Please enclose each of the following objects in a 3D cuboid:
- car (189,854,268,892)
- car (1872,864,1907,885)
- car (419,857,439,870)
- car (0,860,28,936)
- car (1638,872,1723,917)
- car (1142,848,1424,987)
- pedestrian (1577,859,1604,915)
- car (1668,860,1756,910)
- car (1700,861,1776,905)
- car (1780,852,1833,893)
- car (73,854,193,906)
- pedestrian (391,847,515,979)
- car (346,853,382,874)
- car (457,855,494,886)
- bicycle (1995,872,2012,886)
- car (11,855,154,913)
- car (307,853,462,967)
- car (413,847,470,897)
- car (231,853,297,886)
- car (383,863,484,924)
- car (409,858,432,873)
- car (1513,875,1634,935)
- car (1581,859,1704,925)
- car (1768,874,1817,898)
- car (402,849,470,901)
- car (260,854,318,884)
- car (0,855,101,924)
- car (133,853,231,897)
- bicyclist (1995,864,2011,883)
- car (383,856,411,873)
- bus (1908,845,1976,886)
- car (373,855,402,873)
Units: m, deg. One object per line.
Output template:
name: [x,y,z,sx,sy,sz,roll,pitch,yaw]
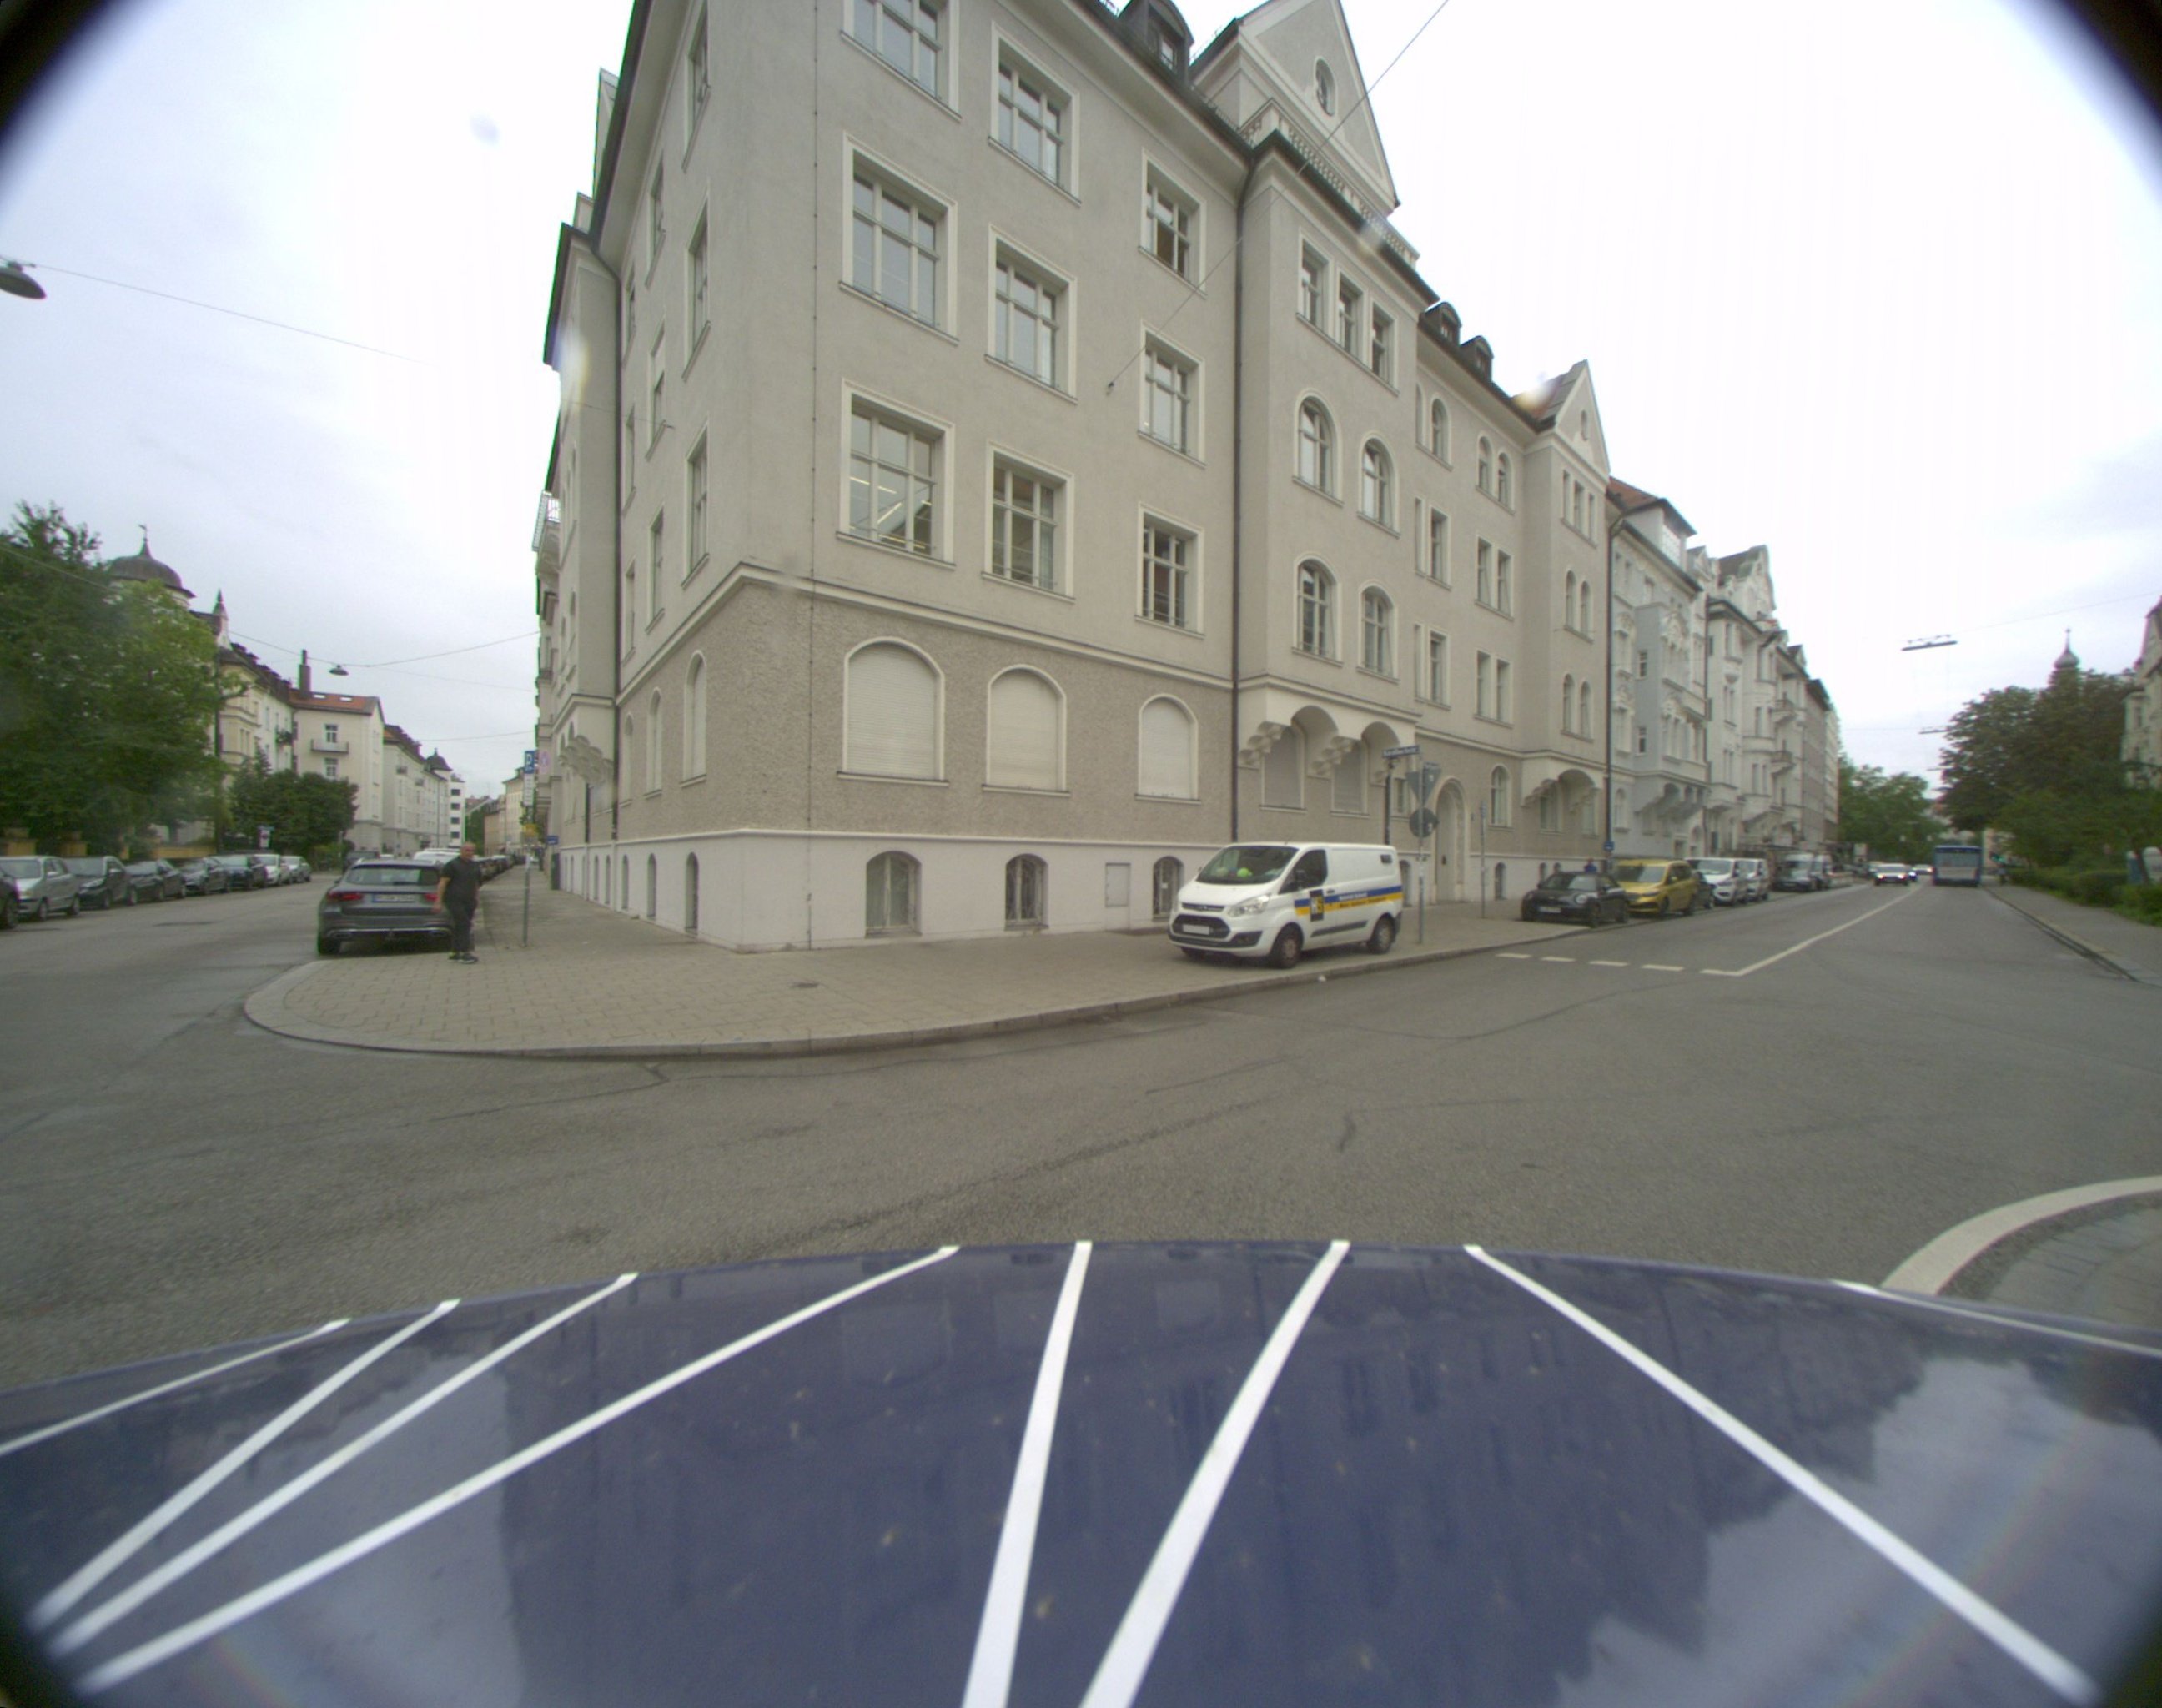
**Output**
car: [-36.954,0.786,33.007,1.800,1.538,3.295,1,0,-40]
car: [65.963,1.638,62.029,4.611,1.648,1.915,1,0,-44]
car: [-76.975,1.085,89.729,1.800,1.538,3.600,1,0,-40]
car: [-22.188,0.896,14.323,1.800,1.538,3.946,1,0,-40]
car: [22.014,1.439,27.854,3.893,1.505,1.634,1,0,-39]
car: [3.650,0.911,13.042,5.386,1.911,1.939,1,1,-41]
pedestrian: [18.459,1.180,27.511,0.729,2.002,0.583,1,0,-38]
car: [26.321,1.212,31.642,4.896,1.907,1.994,1,0,-41]
car: [31.082,1.300,35.876,4.888,1.907,1.994,1,0,-41]
car: [50.499,1.223,52.847,5.456,2.673,2.077,1,2,-41]
car: [-30.687,0.788,24.713,1.800,1.538,3.295,1,0,-40]
pedestrian: [-8.938,0.798,10.858,0.928,1.790,1.001,1,0,10]
car: [-56.184,0.740,59.567,1.800,1.538,3.600,1,0,-40]
car: [-41.292,1.080,51.764,1.822,2.023,4.023,0,0,-41]
bicycle: [75.009,2.033,61.791,2.054,1.075,0.768,1,-2,-42]
car: [-28.741,0.802,22.003,1.800,1.538,3.295,1,0,-40]
car: [-12.882,0.895,14.231,1.897,1.785,4.238,0,0,-41]
car: [-27.721,0.734,32.935,1.822,2.023,4.023,0,0,-41]
car: [-40.234,0.724,37.480,1.800,1.538,3.295,1,0,-40]
car: [-17.374,0.978,20.421,1.897,1.396,4.238,0,0,-41]
car: [-71.173,1.191,81.930,1.800,1.538,3.600,1,0,-40]
car: [13.594,1.330,20.891,3.835,1.436,1.713,1,0,-40]
car: [18.024,1.134,24.315,4.580,1.907,1.994,1,0,-38]
car: [45.014,1.985,48.047,4.253,1.399,1.788,1,0,-41]
car: [-23.692,0.710,27.910,1.801,1.773,3.829,0,0,-41]
car: [-43.017,0.773,41.344,1.800,1.538,3.295,1,0,-40]
car: [-25.963,0.813,18.478,1.800,1.538,3.946,1,0,-40]
car: [-33.586,0.741,28.481,1.800,1.538,3.295,1,0,-40]
bicyclist: [74.983,1.590,61.789,1.063,1.483,0.768,0,-1,-42]
car: [-64.450,0.965,71.666,1.800,1.538,3.600,1,0,-40]
bus: [77.051,0.979,68.251,18.097,3.194,3.172,1,2,-44]
car: [-62.096,0.884,68.075,1.800,1.538,3.600,1,0,-40]
